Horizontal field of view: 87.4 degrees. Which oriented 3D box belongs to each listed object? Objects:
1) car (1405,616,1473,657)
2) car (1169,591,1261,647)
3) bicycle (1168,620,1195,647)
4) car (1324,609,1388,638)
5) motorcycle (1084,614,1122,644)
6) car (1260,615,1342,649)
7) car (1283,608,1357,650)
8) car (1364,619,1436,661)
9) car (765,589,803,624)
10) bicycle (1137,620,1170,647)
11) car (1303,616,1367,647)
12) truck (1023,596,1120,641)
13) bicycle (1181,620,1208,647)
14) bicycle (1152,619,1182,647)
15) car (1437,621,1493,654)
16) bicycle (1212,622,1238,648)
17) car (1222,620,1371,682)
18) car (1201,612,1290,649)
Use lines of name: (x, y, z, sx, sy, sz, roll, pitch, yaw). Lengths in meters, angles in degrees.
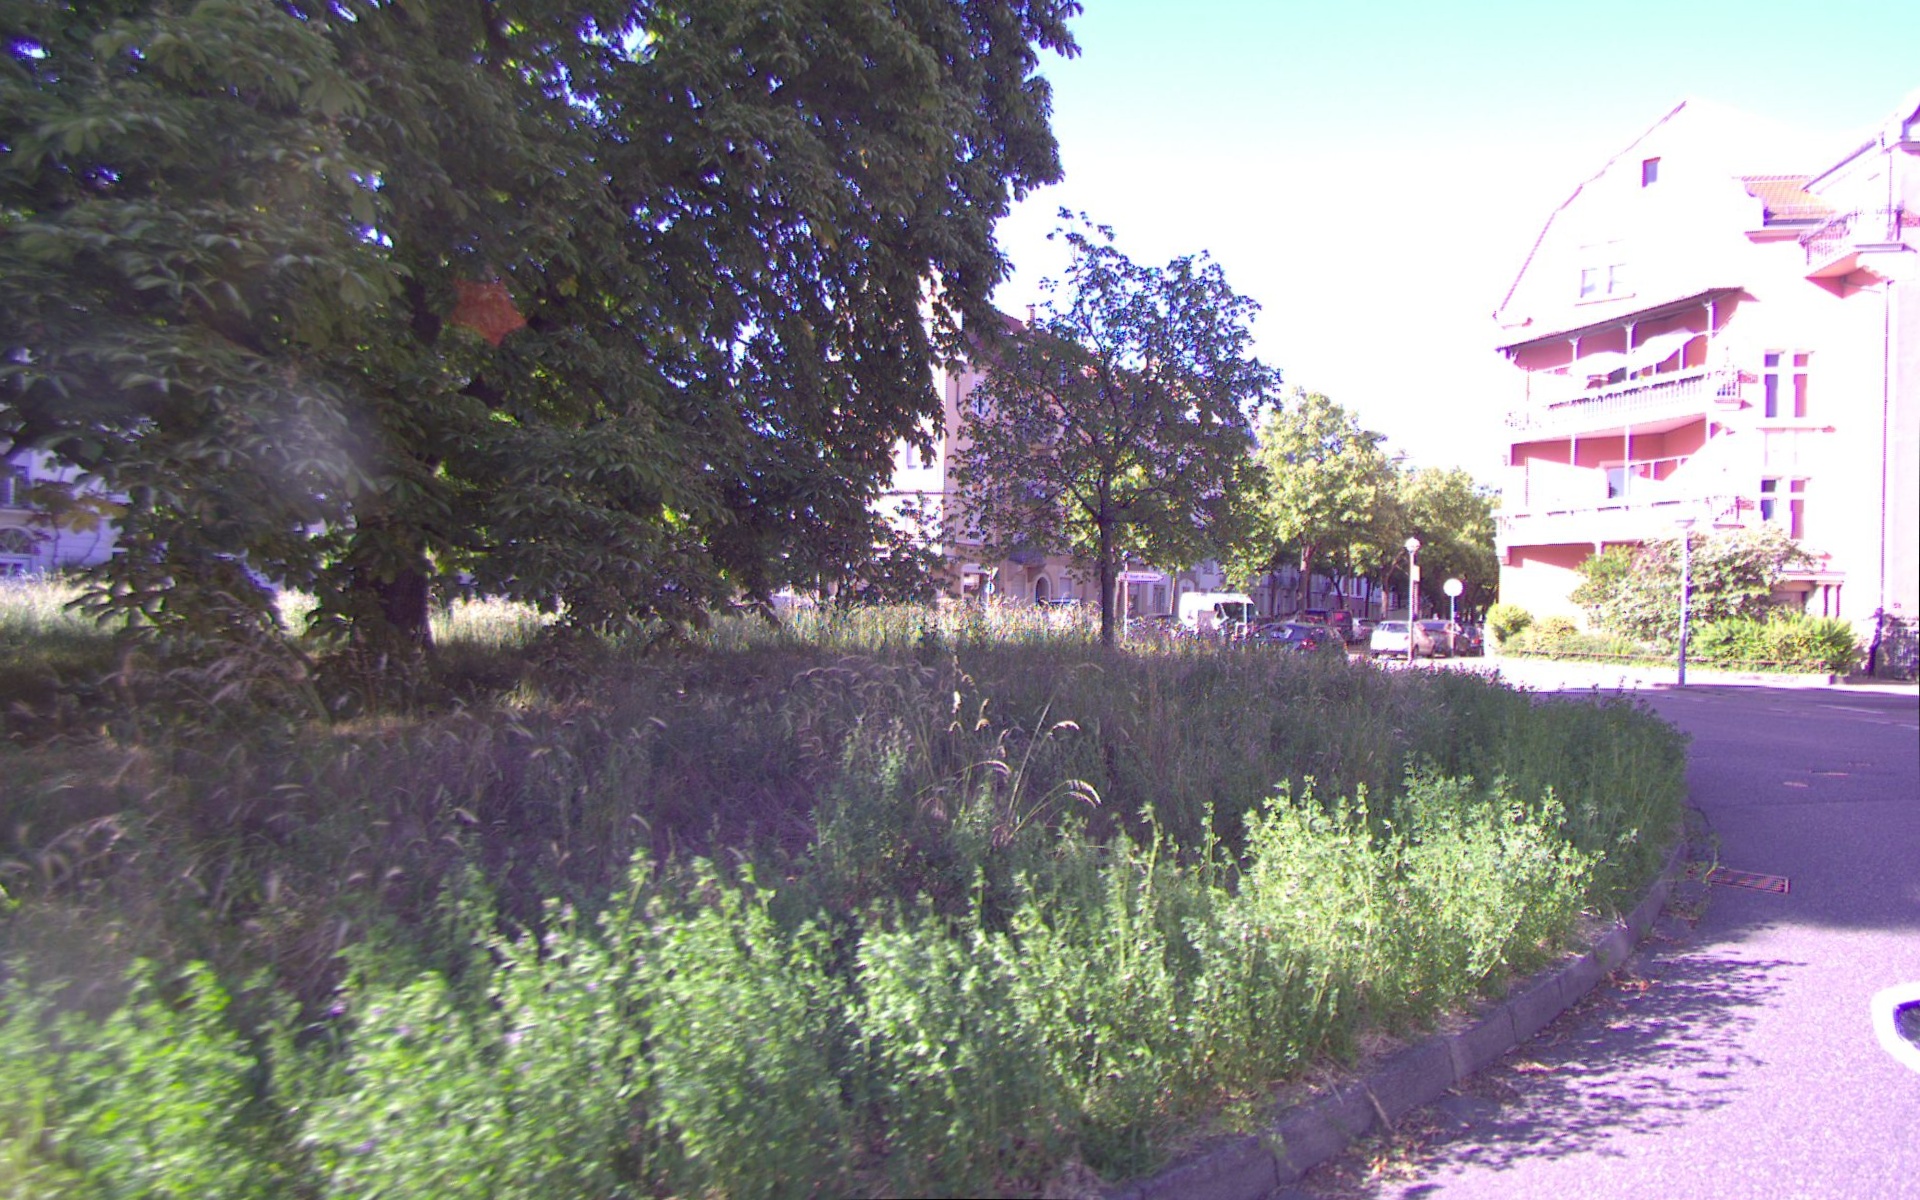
car: (20.372, 1.528, 42.653, 1.662, 1.583, 4.277, 2, 0, 38)
car: (12.966, 0.878, 51.655, 2.066, 2.635, 6.364, 2, 0, -10)
bicycle: (9.274, 1.393, 42.010, 0.413, 1.103, 1.565, 0, -1, 41)
car: (22.236, 1.291, 56.515, 1.659, 1.489, 3.375, 2, 0, -13)
motorcycle: (6.446, 1.301, 45.398, 1.688, 1.287, 0.535, 2, 1, 44)
car: (16.499, 1.540, 48.705, 1.673, 1.466, 3.348, 2, 0, -37)
car: (18.073, 1.430, 50.555, 1.664, 1.890, 3.366, 2, 0, -22)
car: (17.060, 1.507, 38.868, 1.662, 1.466, 3.531, 2, 0, 38)
car: (-10.474, 0.409, 59.497, 2.104, 1.934, 4.552, 1, -1, -11)
bicycle: (8.216, 1.407, 42.597, 0.647, 1.103, 1.722, 0, -1, 39)
car: (20.402, 1.683, 54.827, 1.659, 1.489, 3.375, 2, 0, -13)
truck: (6.211, 1.025, 55.065, 2.107, 2.322, 6.592, 0, -1, 39)
bicycle: (9.800, 1.408, 41.939, 0.413, 1.100, 1.518, 0, -1, 42)
bicycle: (8.682, 1.382, 42.146, 0.493, 1.117, 1.641, 0, -1, 41)
car: (23.443, 1.730, 46.582, 1.662, 1.400, 3.267, 2, 0, 38)
bicycle: (11.186, 1.473, 42.432, 0.413, 1.100, 1.518, 0, -1, 42)
car: (9.249, 1.356, 27.951, 1.843, 1.438, 3.980, -1, 1, -21)
car: (12.794, 1.354, 45.223, 1.666, 1.466, 3.896, 2, 0, -26)
